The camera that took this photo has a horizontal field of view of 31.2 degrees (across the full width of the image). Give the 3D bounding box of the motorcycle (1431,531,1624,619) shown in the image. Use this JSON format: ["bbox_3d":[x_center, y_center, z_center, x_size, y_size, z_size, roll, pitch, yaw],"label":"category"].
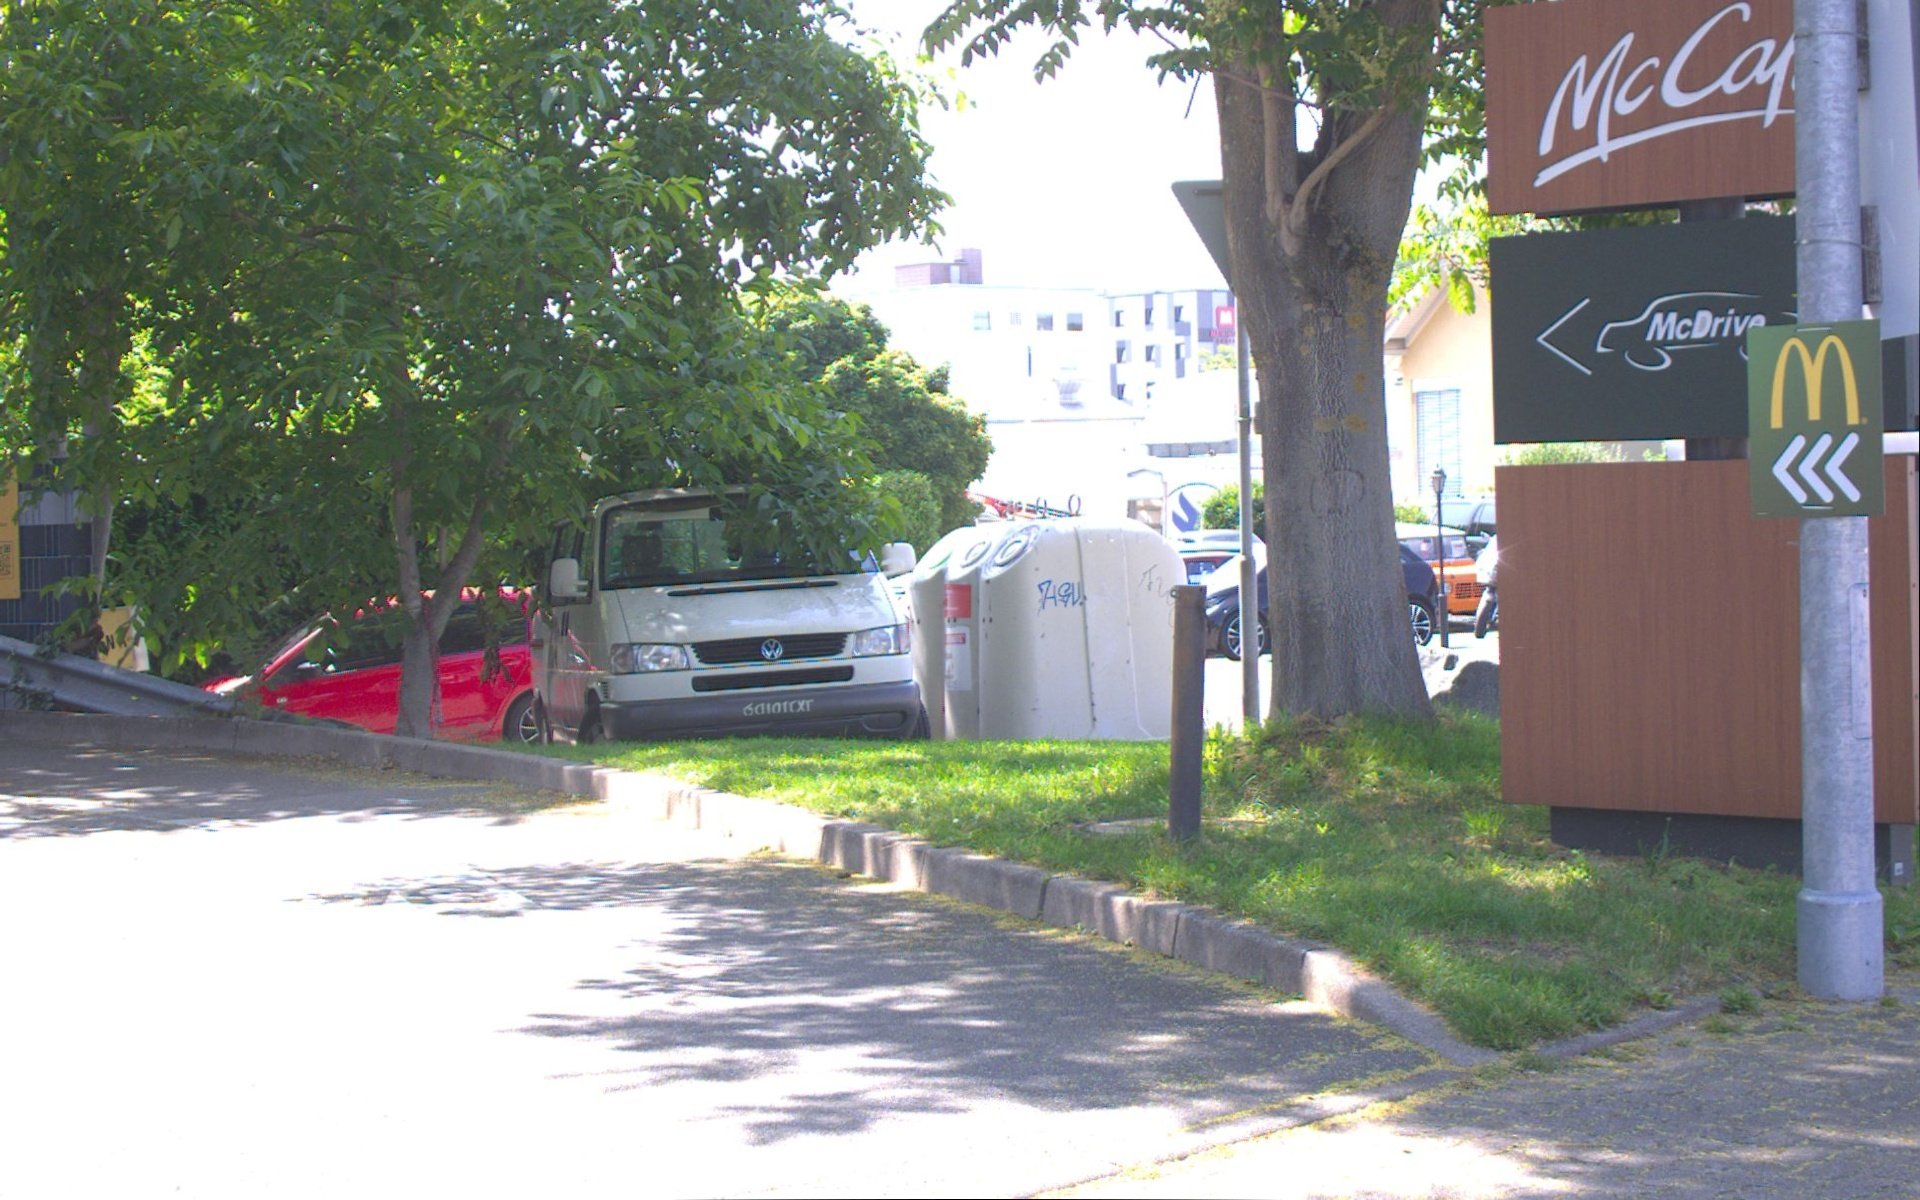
[{"bbox_3d":[8.174,-0.375,49.491,2.709,1.222,0.999,-1,2,-29],"label":"motorcycle"}]

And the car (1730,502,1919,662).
[{"bbox_3d":[9.427,-0.223,34.413,1.792,1.504,3.991,1,2,38],"label":"car"}]

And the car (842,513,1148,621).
[{"bbox_3d":[0.580,-0.552,56.360,4.638,1.719,2.000,0,1,-28],"label":"car"}]

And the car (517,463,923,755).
[{"bbox_3d":[-1.614,-0.053,21.191,1.951,1.577,5.033,0,2,-10],"label":"car"}]

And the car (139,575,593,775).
[{"bbox_3d":[-4.852,0.576,28.052,3.403,1.374,1.487,-2,4,-20],"label":"car"}]

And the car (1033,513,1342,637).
[{"bbox_3d":[3.276,-0.379,49.449,3.986,1.719,2.000,0,1,-29],"label":"car"}]

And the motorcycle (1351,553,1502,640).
[{"bbox_3d":[6.304,-0.053,46.505,1.868,1.154,0.790,0,1,-9],"label":"motorcycle"}]

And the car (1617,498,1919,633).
[{"bbox_3d":[10.201,-0.432,41.187,4.321,1.579,2.000,0,1,2],"label":"car"}]

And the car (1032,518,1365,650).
[{"bbox_3d":[3.194,-0.249,46.110,3.986,1.700,2.001,-1,1,-22],"label":"car"}]

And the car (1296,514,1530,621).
[{"bbox_3d":[6.966,-0.540,53.227,1.993,1.579,4.001,-1,1,-19],"label":"car"}]

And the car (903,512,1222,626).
[{"bbox_3d":[1.622,-0.498,54.167,4.638,1.719,2.000,0,1,-28],"label":"car"}]
